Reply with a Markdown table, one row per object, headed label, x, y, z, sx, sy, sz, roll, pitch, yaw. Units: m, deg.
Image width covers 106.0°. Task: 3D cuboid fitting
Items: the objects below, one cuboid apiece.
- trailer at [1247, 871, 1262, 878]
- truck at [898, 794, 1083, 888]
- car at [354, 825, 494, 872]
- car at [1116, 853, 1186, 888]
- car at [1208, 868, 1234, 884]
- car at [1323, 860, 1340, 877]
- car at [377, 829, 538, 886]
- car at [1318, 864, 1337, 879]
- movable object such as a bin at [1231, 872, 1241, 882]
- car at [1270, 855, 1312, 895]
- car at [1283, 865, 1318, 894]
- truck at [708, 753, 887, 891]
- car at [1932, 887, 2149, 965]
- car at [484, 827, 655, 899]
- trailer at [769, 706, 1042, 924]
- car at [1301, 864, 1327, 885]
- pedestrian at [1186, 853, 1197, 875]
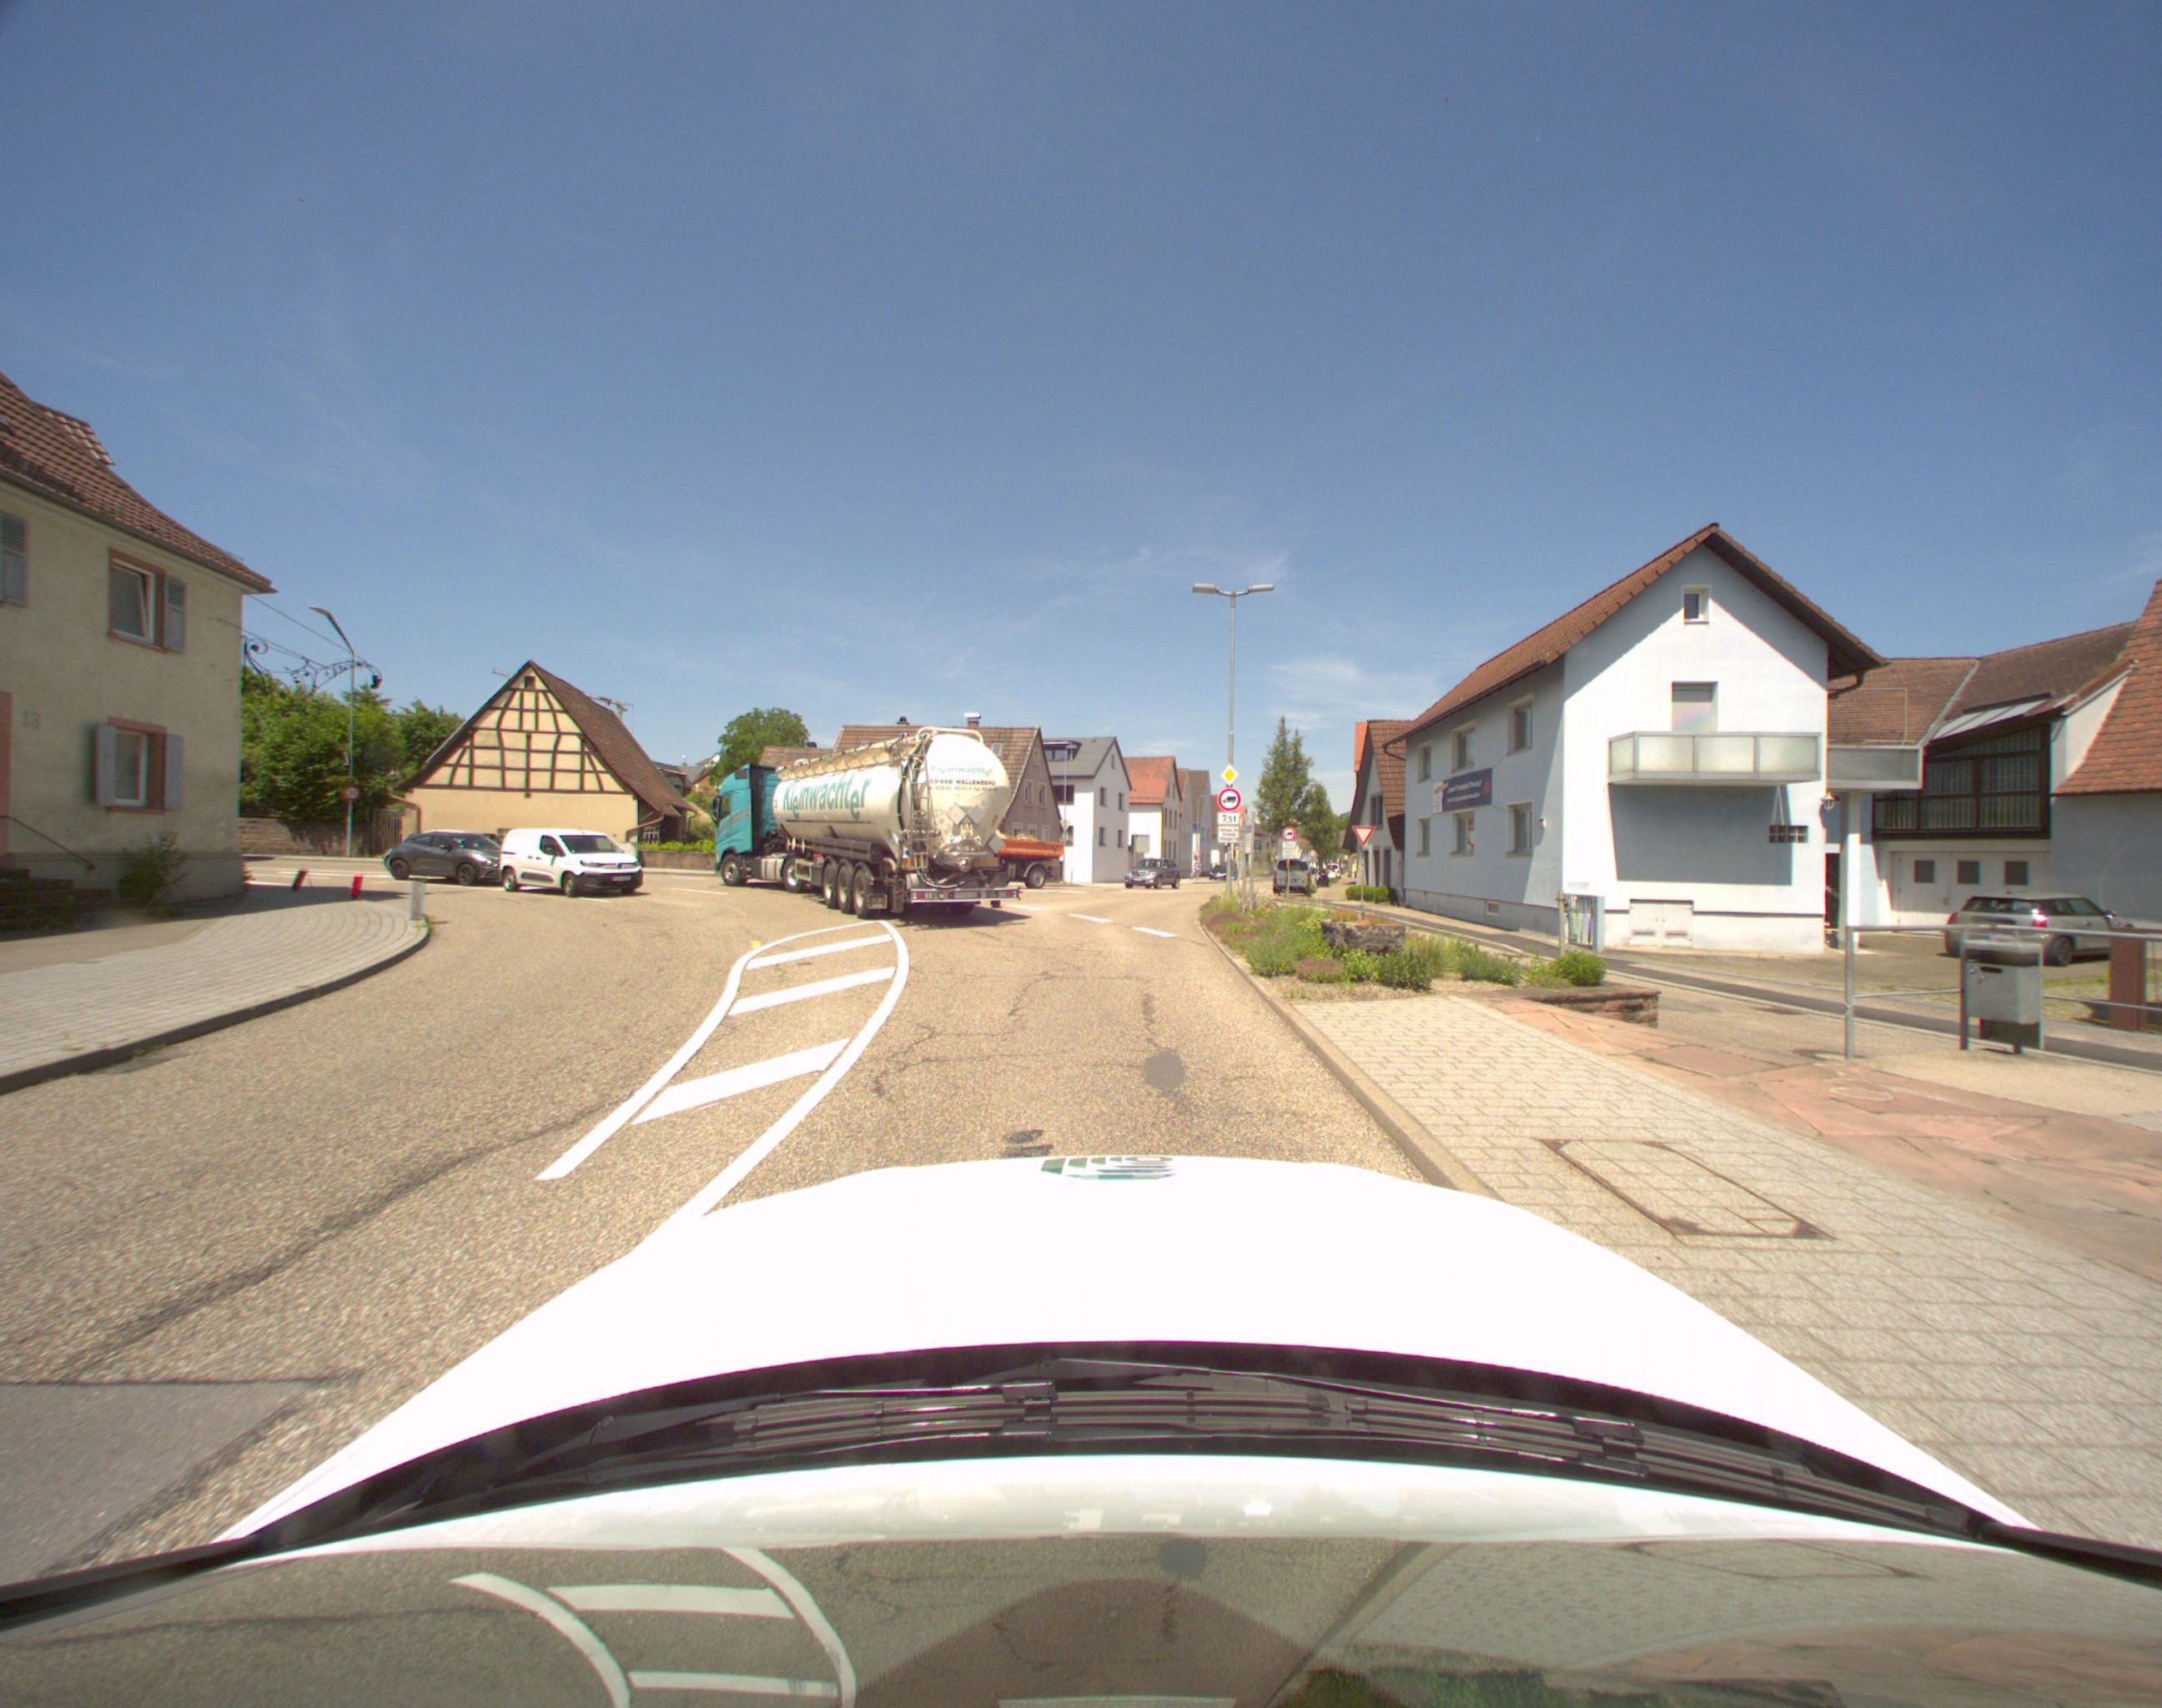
| label | x | y | z | sx | sy | sz | roll | pitch | yaw |
| --- | --- | --- | --- | --- | --- | --- | --- | --- | --- |
| trailer | 23.759 | 2.788 | 111.565 | 1.939 | 0.777 | 2.727 | 2 | 0 | 9 |
| truck | -3.339 | -0.349 | 32.306 | 2.635 | 3.181 | 7.508 | 0 | -2 | 39 |
| car | -23.624 | -0.170 | 29.387 | 3.579 | 1.585 | 1.789 | 1 | -1 | 3 |
| car | 3.748 | 0.910 | 43.052 | 1.975 | 1.675 | 4.338 | 2 | -1 | 30 |
| car | 14.469 | 2.229 | 83.890 | 1.702 | 1.596 | 4.022 | 2 | 0 | 24 |
| car | 31.971 | 1.819 | 103.870 | 1.978 | 1.992 | 4.017 | 2 | 0 | 16 |
| car | -19.298 | 0.103 | 25.251 | 3.959 | 1.524 | 1.804 | 3 | 0 | 14 |
| car | 28.049 | 1.943 | 92.834 | 1.978 | 1.585 | 4.017 | 2 | 0 | 16 |
| movable object such as a bin | 16.916 | 2.472 | 88.745 | 0.912 | 1.049 | 0.948 | 2 | 0 | 19 |
| car | 11.004 | 1.109 | 42.440 | 1.979 | 1.912 | 4.341 | 2 | -2 | 16 |
| car | 13.413 | 1.500 | 49.657 | 1.803 | 1.634 | 4.226 | 1 | -1 | 18 |
| truck | -9.228 | -0.947 | 26.264 | 5.508 | 3.965 | 3.015 | 2 | 0 | 41 |
| car | 20.718 | 1.488 | 17.616 | 3.734 | 1.453 | 1.804 | 1 | 0 | -19 |
| car | -14.396 | 0.214 | 22.890 | 4.466 | 1.785 | 1.890 | 2 | 1 | 25 |
| trailer | -5.081 | -0.748 | 20.417 | 2.972 | 3.948 | 11.504 | 2 | 0 | -31 |
| car | 19.168 | 1.690 | 66.924 | 1.978 | 1.585 | 4.017 | 2 | 0 | 16 |
| pedestrian | 10.571 | 0.949 | 78.042 | 0.762 | 2.014 | 0.982 | 2 | -1 | 24 |
